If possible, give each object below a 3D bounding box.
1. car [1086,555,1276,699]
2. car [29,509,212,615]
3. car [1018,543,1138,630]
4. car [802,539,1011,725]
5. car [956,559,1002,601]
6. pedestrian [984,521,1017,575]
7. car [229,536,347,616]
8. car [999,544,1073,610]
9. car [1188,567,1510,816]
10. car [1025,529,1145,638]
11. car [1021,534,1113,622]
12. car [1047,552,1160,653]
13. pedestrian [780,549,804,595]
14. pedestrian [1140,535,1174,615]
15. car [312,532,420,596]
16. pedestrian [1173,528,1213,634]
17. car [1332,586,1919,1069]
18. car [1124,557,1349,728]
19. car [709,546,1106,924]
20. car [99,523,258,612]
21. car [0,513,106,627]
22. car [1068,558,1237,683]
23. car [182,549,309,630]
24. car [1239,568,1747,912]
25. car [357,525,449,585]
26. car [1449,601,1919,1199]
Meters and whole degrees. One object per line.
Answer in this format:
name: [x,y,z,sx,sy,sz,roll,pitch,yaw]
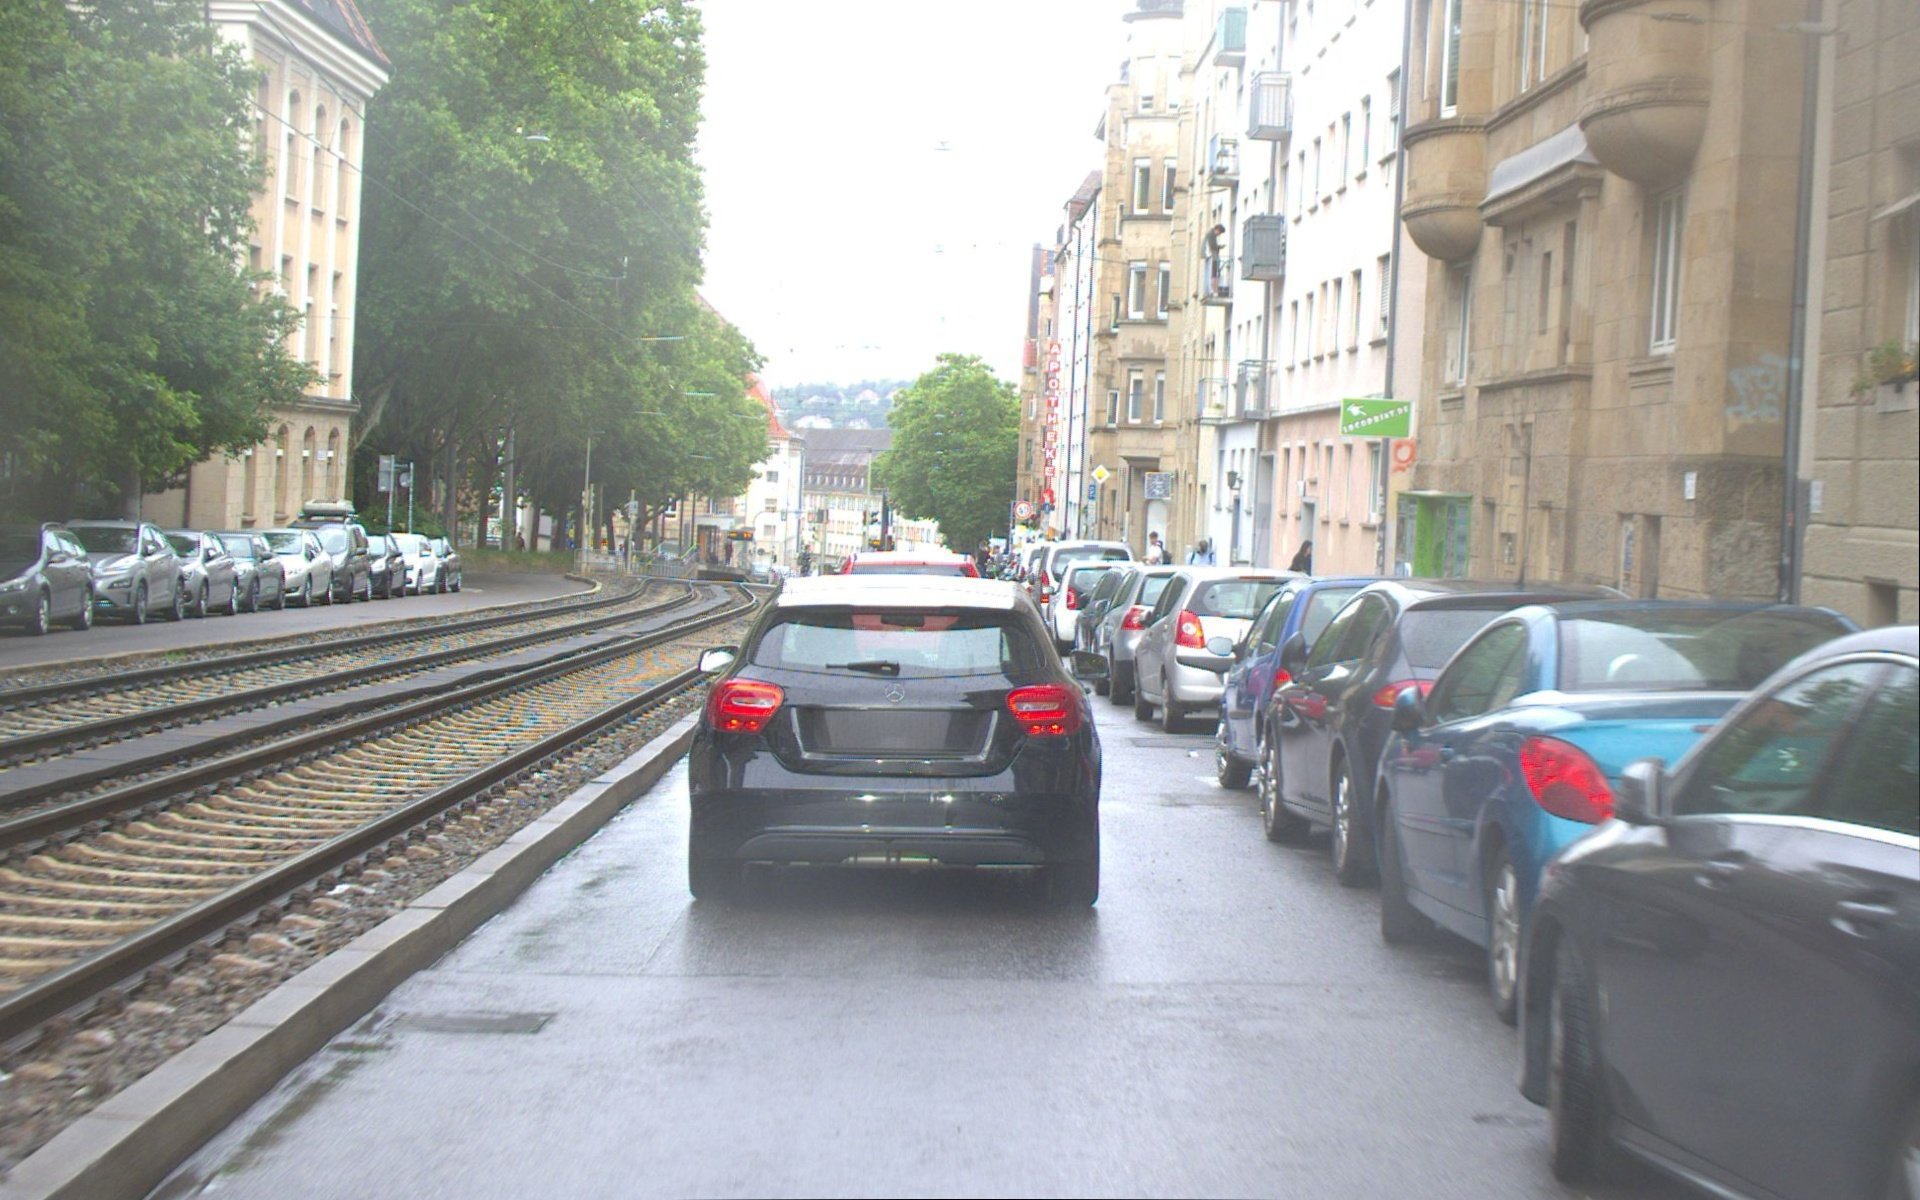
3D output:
car: [2.324,0.254,37.042,1.668,1.429,3.956,1,1,-1]
car: [-12.683,-0.587,52.181,1.754,1.531,4.543,0,1,-1]
car: [2.116,-0.280,62.894,1.871,1.450,4.903,2,1,-1]
car: [-0.477,0.251,32.159,1.785,1.575,4.000,2,1,0]
car: [0.759,-0.822,139.955,1.827,1.612,3.864,0,1,0]
pedestrian: [1.511,-1.933,128.213,1.137,1.991,1.173,0,1,-4]
car: [-13.028,-0.487,66.834,1.539,1.500,4.155,0,1,-1]
car: [1.869,-0.590,85.648,1.693,1.524,4.000,2,1,0]
car: [2.420,0.526,22.096,1.543,1.410,3.446,2,1,-2]
car: [2.069,-0.304,57.959,1.791,1.759,4.212,1,1,-1]
car: [2.246,-0.494,72.702,1.828,1.744,4.467,2,1,1]
car: [2.188,0.017,53.080,1.570,1.457,3.599,1,1,0]
pedestrian: [-6.017,-1.020,123.408,0.806,1.628,0.892,0,1,0]
pedestrian: [4.574,-0.585,79.807,0.746,1.827,1.039,-1,1,1]
car: [-13.280,-0.823,77.040,1.675,1.409,4.010,0,1,1]
pedestrian: [3.913,-0.321,57.674,0.607,1.757,0.688,0,1,-1]
car: [2.502,0.695,12.518,1.707,1.393,4.019,2,1,-2]
car: [2.472,0.347,31.494,1.590,1.429,3.684,1,1,-2]
car: [-0.240,0.526,15.856,1.580,1.499,3.575,2,1,-1]
car: [-12.893,-0.554,56.928,1.754,1.409,4.154,0,1,-1]
car: [-12.921,-0.418,46.335,1.849,1.459,4.551,0,1,-2]
car: [2.330,0.218,42.534,1.669,1.405,4.312,1,1,-2]
car: [-12.809,-0.217,61.835,1.539,1.409,3.953,0,1,-1]
car: [2.548,0.609,17.398,1.787,1.457,4.084,2,1,-2]
car: [-13.208,-1.070,81.676,1.500,1.386,3.987,0,1,1]
car: [2.317,0.736,6.925,1.754,1.382,4.486,0,1,-4]
